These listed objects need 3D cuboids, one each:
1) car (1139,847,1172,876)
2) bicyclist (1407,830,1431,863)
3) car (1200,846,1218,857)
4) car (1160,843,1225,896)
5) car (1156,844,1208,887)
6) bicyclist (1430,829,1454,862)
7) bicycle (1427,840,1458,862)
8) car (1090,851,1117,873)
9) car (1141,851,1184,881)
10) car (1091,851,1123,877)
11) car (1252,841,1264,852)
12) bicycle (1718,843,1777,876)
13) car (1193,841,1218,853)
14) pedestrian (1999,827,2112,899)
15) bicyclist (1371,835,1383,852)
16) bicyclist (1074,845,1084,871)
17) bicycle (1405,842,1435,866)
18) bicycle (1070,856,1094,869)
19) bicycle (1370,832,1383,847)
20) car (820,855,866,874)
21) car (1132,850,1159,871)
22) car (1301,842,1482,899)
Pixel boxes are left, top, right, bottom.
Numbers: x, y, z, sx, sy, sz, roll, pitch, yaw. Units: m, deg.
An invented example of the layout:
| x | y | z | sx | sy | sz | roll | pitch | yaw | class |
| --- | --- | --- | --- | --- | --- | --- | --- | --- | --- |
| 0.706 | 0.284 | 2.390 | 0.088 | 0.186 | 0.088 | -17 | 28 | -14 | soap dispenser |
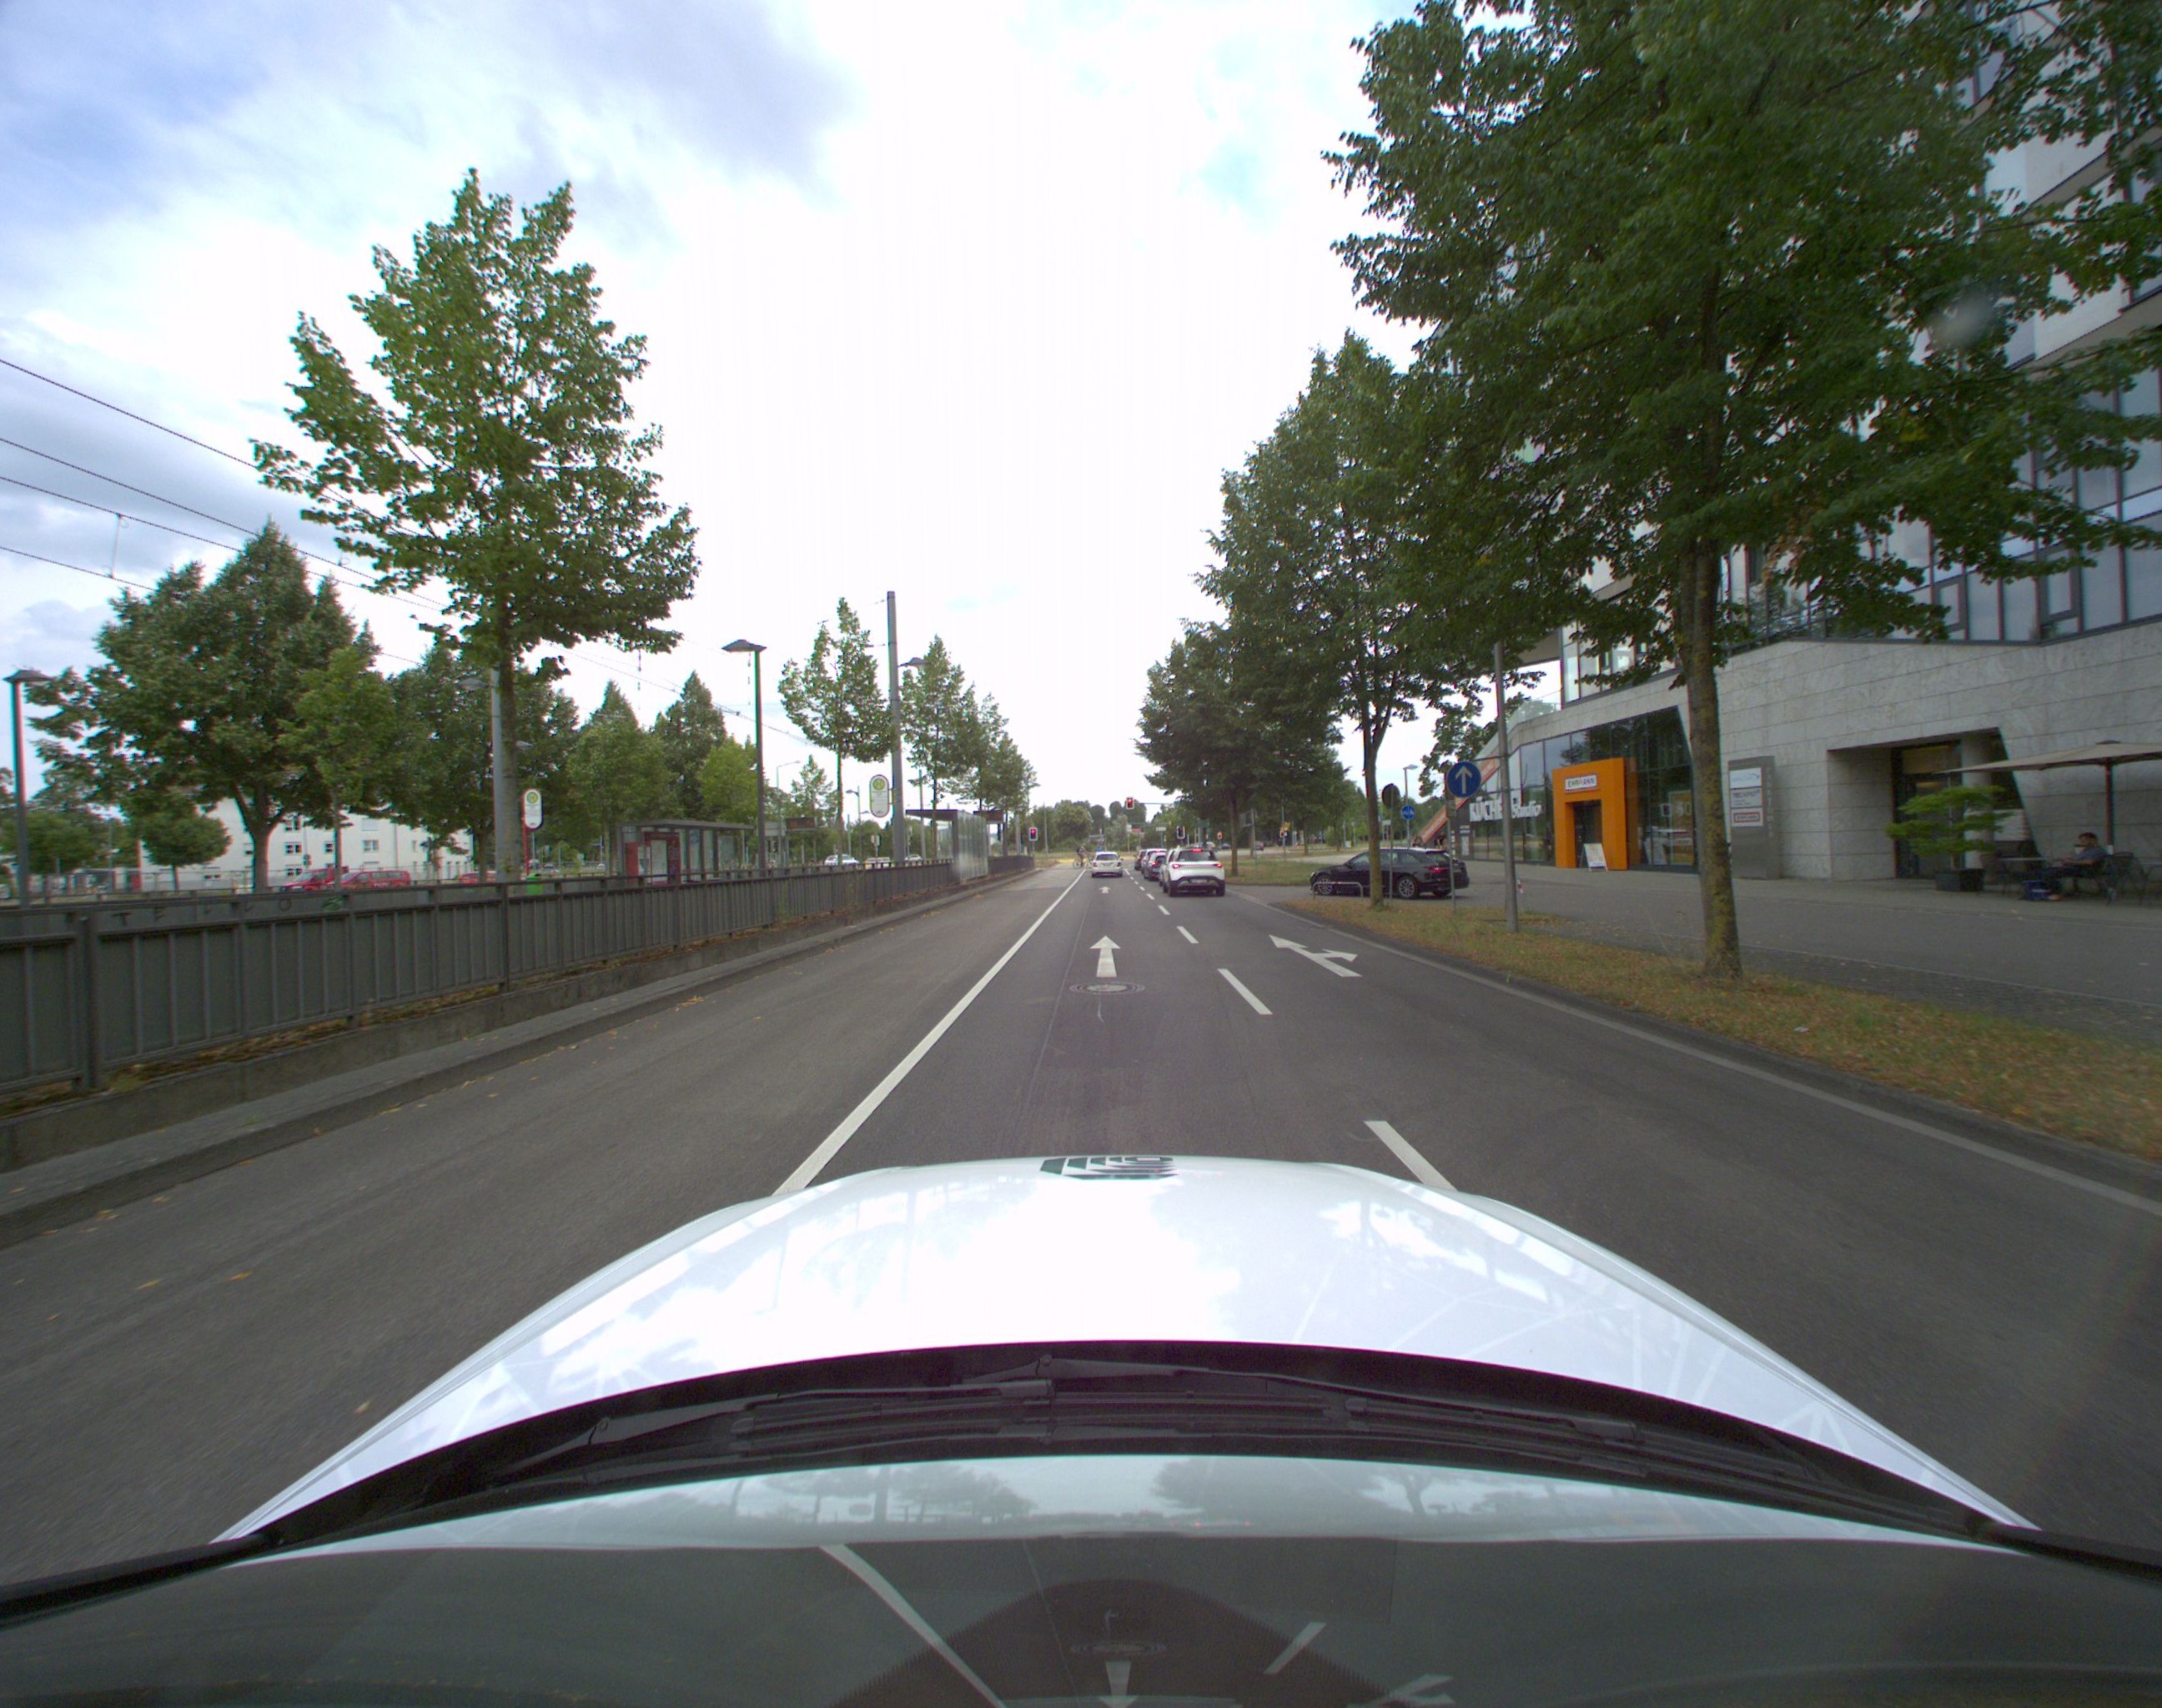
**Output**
| x | y | z | sx | sy | sz | roll | pitch | yaw | class |
| --- | --- | --- | --- | --- | --- | --- | --- | --- | --- |
| 4.597 | 0.444 | 50.599 | 1.780 | 1.624 | 3.912 | -2 | 0 | 2 | car |
| 16.738 | -0.365 | 40.346 | 0.722 | 1.582 | 0.990 | -2 | 0 | 1 | bicyclist |
| 20.569 | -0.410 | 131.170 | 1.989 | 1.791 | 3.995 | 0 | 0 | -4 | car |
| 3.783 | 0.488 | 28.120 | 1.772 | 1.656 | 4.025 | -2 | 0 | 2 | car |
| 4.222 | 0.452 | 34.438 | 1.772 | 1.656 | 4.025 | -2 | 0 | 2 | car |
| 18.015 | -0.430 | 40.686 | 0.722 | 1.582 | 0.990 | -2 | 0 | 1 | bicyclist |
| 18.035 | -0.141 | 40.702 | 0.671 | 1.042 | 2.008 | -2 | 0 | 2 | bicycle |
| 1.512 | 0.500 | 55.728 | 1.768 | 1.448 | 3.910 | -1 | 0 | 0 | car |
| 4.224 | 0.584 | 42.610 | 1.782 | 1.432 | 4.310 | -2 | 0 | 0 | car |
| 1.467 | 0.560 | 47.427 | 1.768 | 1.448 | 3.910 | -1 | 0 | 0 | car |
| 27.353 | -1.201 | 125.771 | 1.771 | 1.636 | 4.416 | -2 | 0 | 12 | car |
| 19.518 | 0.150 | 23.870 | 0.516 | 0.910 | 1.494 | -2 | 0 | 2 | bicycle |
| 23.383 | -1.315 | 152.785 | 1.975 | 2.013 | 5.030 | -2 | 1 | 45 | car |
| 17.642 | 0.157 | 14.771 | 0.893 | 1.228 | 0.952 | -2 | 0 | 6 | pedestrian |
| 32.006 | -1.156 | 88.080 | 0.863 | 1.789 | 1.174 | -2 | 0 | 0 | bicyclist |
| -0.135 | 0.279 | 62.317 | 0.726 | 1.884 | 0.735 | -2 | 6 | -1 | bicyclist |
| 16.757 | -0.003 | 40.266 | 0.671 | 1.143 | 2.008 | -2 | 0 | 2 | bicycle |
| 0.077 | 0.681 | 64.358 | 1.927 | 0.984 | 0.564 | 0 | 0 | 0 | bicycle |
| 31.984 | -1.566 | 88.054 | 0.702 | 1.505 | 2.007 | 0 | 0 | 0 | bicycle |
| -22.449 | 1.015 | 76.635 | 4.328 | 1.618 | 2.013 | -2 | 0 | 40 | car |
| 4.611 | 0.457 | 58.406 | 1.619 | 1.448 | 3.910 | -1 | 0 | 0 | car |
| 9.195 | 0.477 | 24.549 | 1.955 | 1.475 | 4.820 | -2 | 0 | -33 | car |
